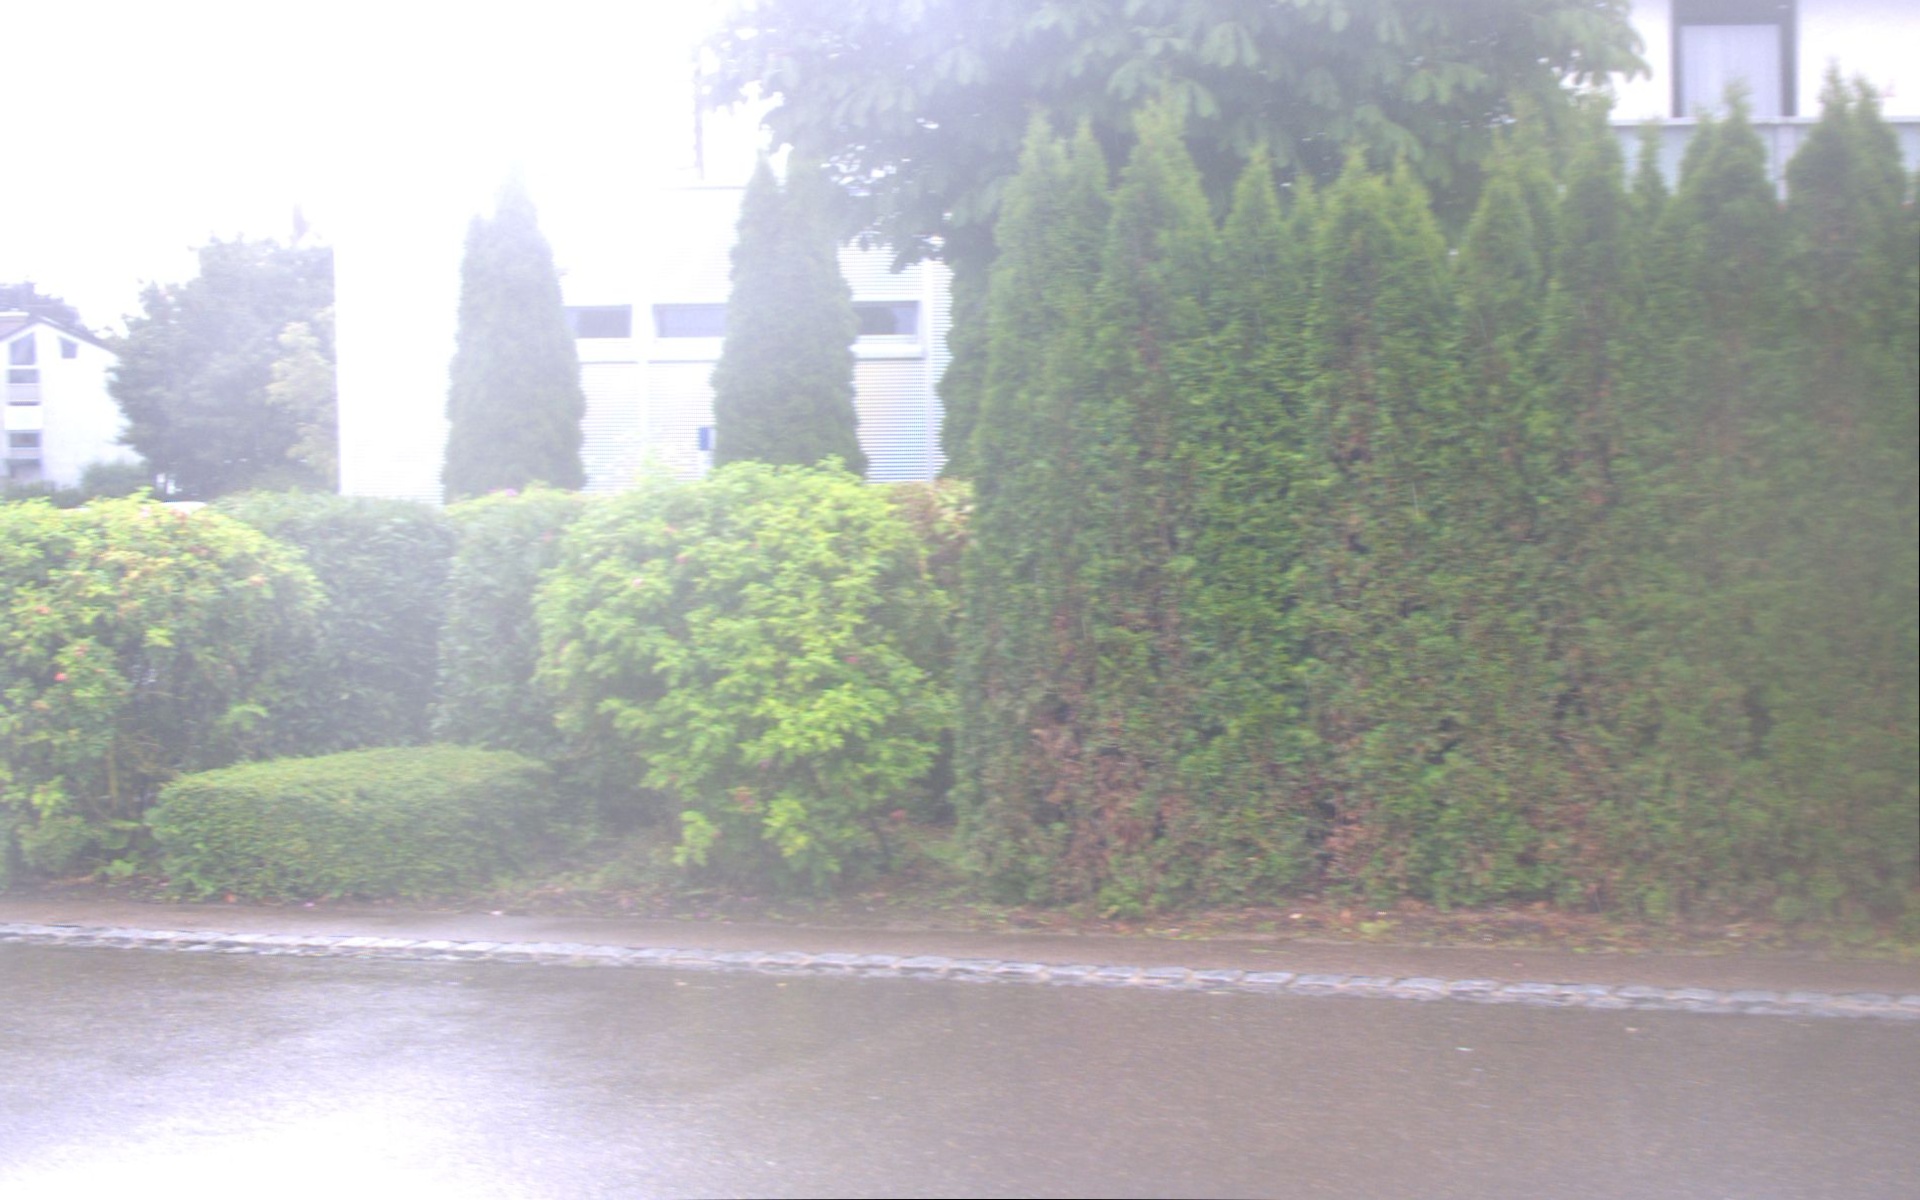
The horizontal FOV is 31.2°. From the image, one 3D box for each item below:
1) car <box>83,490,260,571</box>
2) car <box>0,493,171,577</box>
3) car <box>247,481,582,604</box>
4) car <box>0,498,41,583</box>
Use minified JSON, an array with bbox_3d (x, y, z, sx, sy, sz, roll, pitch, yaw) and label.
[{"bbox_3d":[-14.989,-1.315,65.237,1.581,1.453,3.678,-4,3,-43],"label":"car"},{"bbox_3d":[-16.252,-1.197,63.484,1.581,1.453,3.678,-4,3,-43],"label":"car"},{"bbox_3d":[-7.343,-0.790,46.533,4.175,1.492,1.718,-2,2,2],"label":"car"},{"bbox_3d":[-18.048,-1.045,61.383,1.581,1.453,3.678,-4,3,-43],"label":"car"}]
